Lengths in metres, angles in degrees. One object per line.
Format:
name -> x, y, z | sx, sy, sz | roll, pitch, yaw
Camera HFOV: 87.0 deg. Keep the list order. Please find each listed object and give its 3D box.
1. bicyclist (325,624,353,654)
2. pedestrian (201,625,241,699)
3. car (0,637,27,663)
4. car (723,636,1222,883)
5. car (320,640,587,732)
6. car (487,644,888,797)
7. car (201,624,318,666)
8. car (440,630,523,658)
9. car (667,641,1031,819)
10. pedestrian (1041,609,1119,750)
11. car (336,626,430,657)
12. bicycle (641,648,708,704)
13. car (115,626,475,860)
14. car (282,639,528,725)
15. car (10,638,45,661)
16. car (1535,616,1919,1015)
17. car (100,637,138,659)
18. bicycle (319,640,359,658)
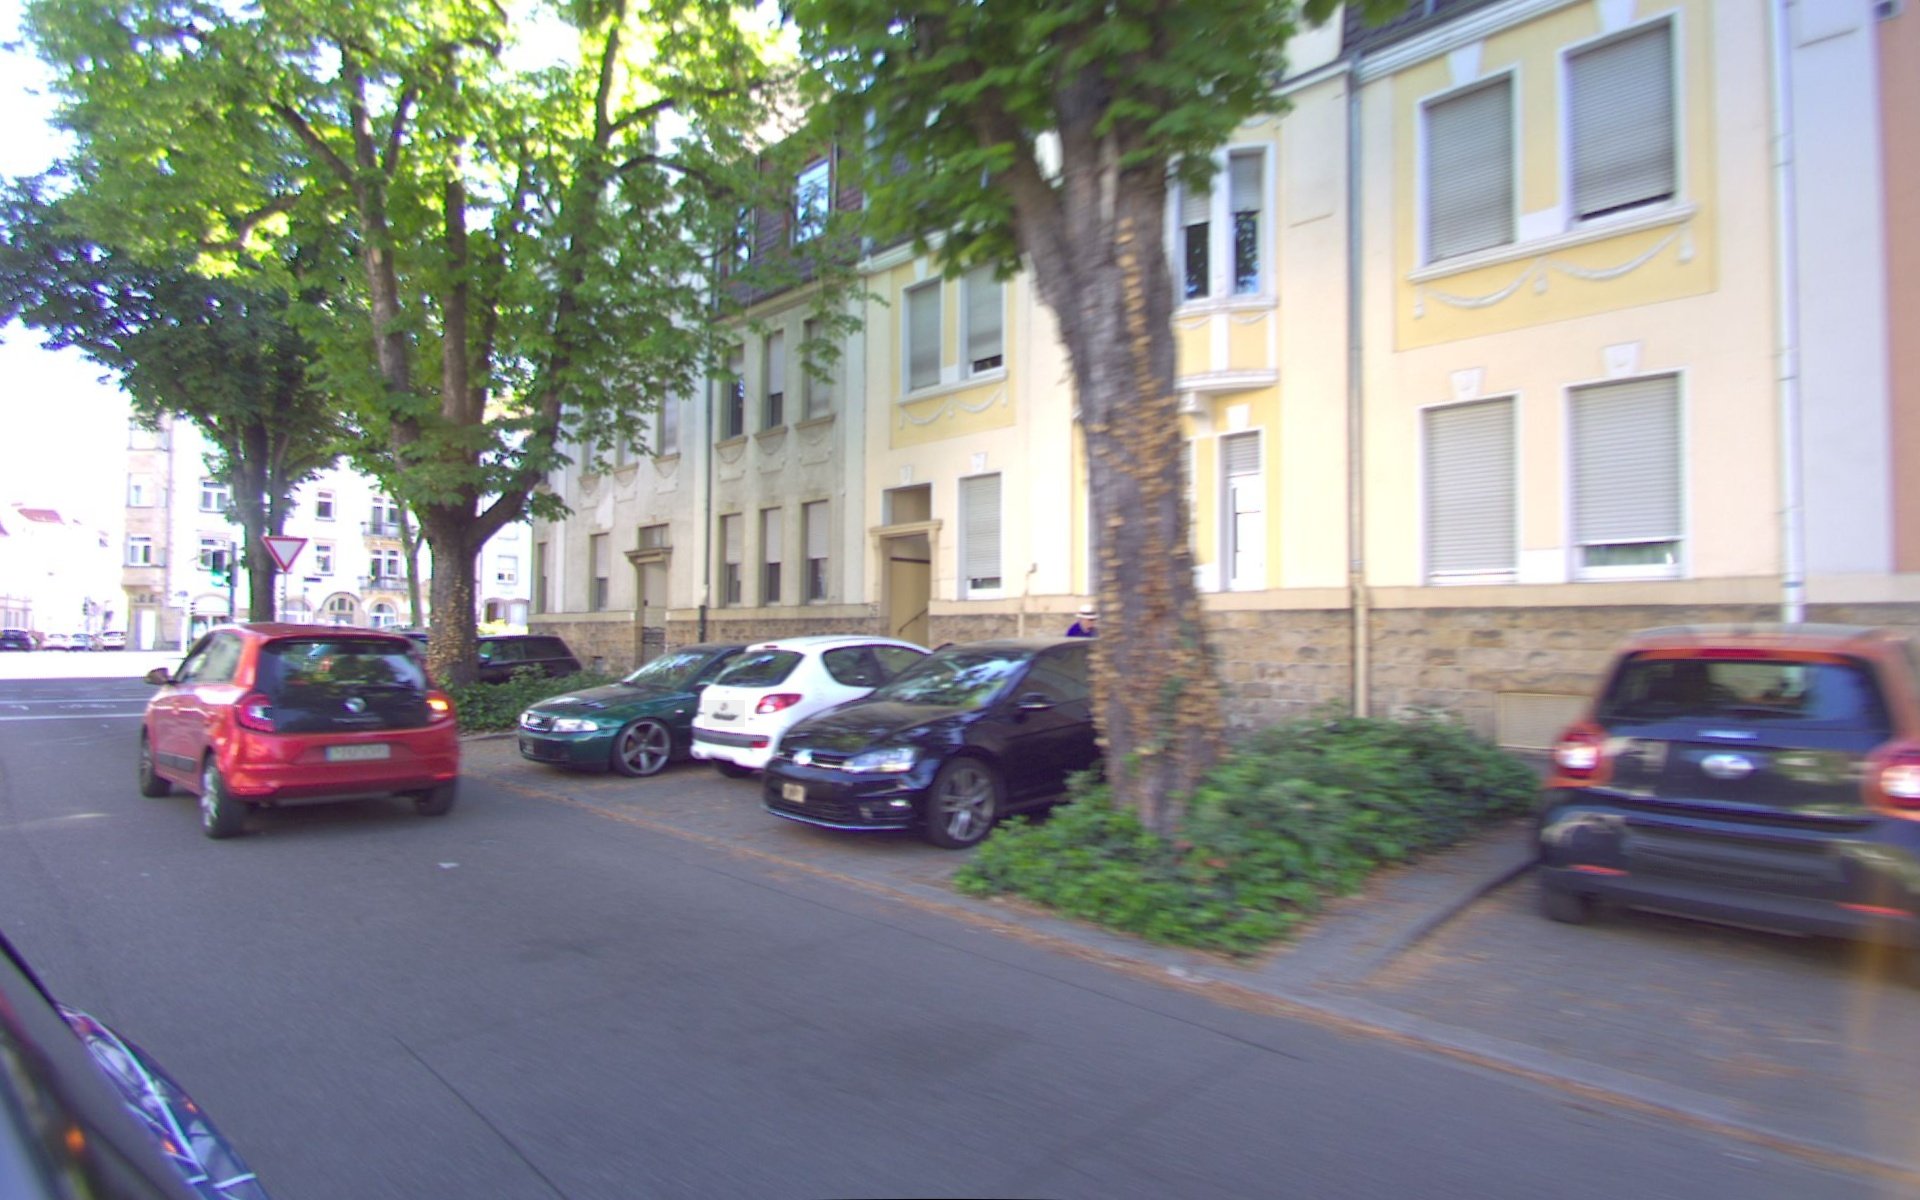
bicyclist -> -32.291, 2.013, 52.657 | 0.687, 1.554, 1.059 | -2, -4, 43
pedestrian -> -17.391, 1.449, 23.821 | 0.684, 1.695, 0.682 | 2, -3, -35
car -> -57.865, 3.016, 61.437 | 1.641, 1.475, 3.811 | 3, -3, -44
car -> 0.289, 1.076, 8.219 | 3.940, 1.494, 1.786 | 3, -3, -44
car -> -8.736, 1.421, 17.725 | 1.613, 1.426, 3.844 | -1, -3, 38
car -> -2.943, 1.220, 11.600 | 1.704, 1.359, 4.164 | -1, -2, 44
car -> -27.714, 1.797, 40.155 | 3.553, 1.580, 1.658 | 2, -3, -27
car -> -27.518, 2.565, 58.297 | 1.766, 1.541, 3.962 | -3, -4, 43
car -> -1.045, 1.178, 10.423 | 3.393, 1.463, 1.705 | 2, -2, -43
pedestrian -> 1.477, 0.962, 12.519 | 0.454, 1.671, 0.896 | 2, -3, -37
car -> -32.445, 2.357, 56.989 | 2.000, 1.657, 4.179 | -4, -5, 43
bicycle -> -6.371, 1.668, 22.483 | 0.508, 1.163, 1.983 | 0, -2, -45
car -> -5.673, 1.015, 8.464 | 3.702, 1.520, 1.623 | -2, -4, 43
car -> -10.671, 1.542, 19.631 | 1.616, 1.487, 3.838 | -2, -4, 44
car -> -84.820, 4.510, 92.082 | 1.804, 2.050, 3.829 | -1, -3, -34
car -> 4.765, 0.928, 5.604 | 3.940, 1.519, 1.723 | 4, -4, -44
car -> -70.032, 4.007, 84.359 | 1.887, 1.671, 4.358 | -2, -1, -33
bicycle -> -32.297, 2.541, 52.644 | 0.795, 0.932, 1.614 | -3, -4, 43
